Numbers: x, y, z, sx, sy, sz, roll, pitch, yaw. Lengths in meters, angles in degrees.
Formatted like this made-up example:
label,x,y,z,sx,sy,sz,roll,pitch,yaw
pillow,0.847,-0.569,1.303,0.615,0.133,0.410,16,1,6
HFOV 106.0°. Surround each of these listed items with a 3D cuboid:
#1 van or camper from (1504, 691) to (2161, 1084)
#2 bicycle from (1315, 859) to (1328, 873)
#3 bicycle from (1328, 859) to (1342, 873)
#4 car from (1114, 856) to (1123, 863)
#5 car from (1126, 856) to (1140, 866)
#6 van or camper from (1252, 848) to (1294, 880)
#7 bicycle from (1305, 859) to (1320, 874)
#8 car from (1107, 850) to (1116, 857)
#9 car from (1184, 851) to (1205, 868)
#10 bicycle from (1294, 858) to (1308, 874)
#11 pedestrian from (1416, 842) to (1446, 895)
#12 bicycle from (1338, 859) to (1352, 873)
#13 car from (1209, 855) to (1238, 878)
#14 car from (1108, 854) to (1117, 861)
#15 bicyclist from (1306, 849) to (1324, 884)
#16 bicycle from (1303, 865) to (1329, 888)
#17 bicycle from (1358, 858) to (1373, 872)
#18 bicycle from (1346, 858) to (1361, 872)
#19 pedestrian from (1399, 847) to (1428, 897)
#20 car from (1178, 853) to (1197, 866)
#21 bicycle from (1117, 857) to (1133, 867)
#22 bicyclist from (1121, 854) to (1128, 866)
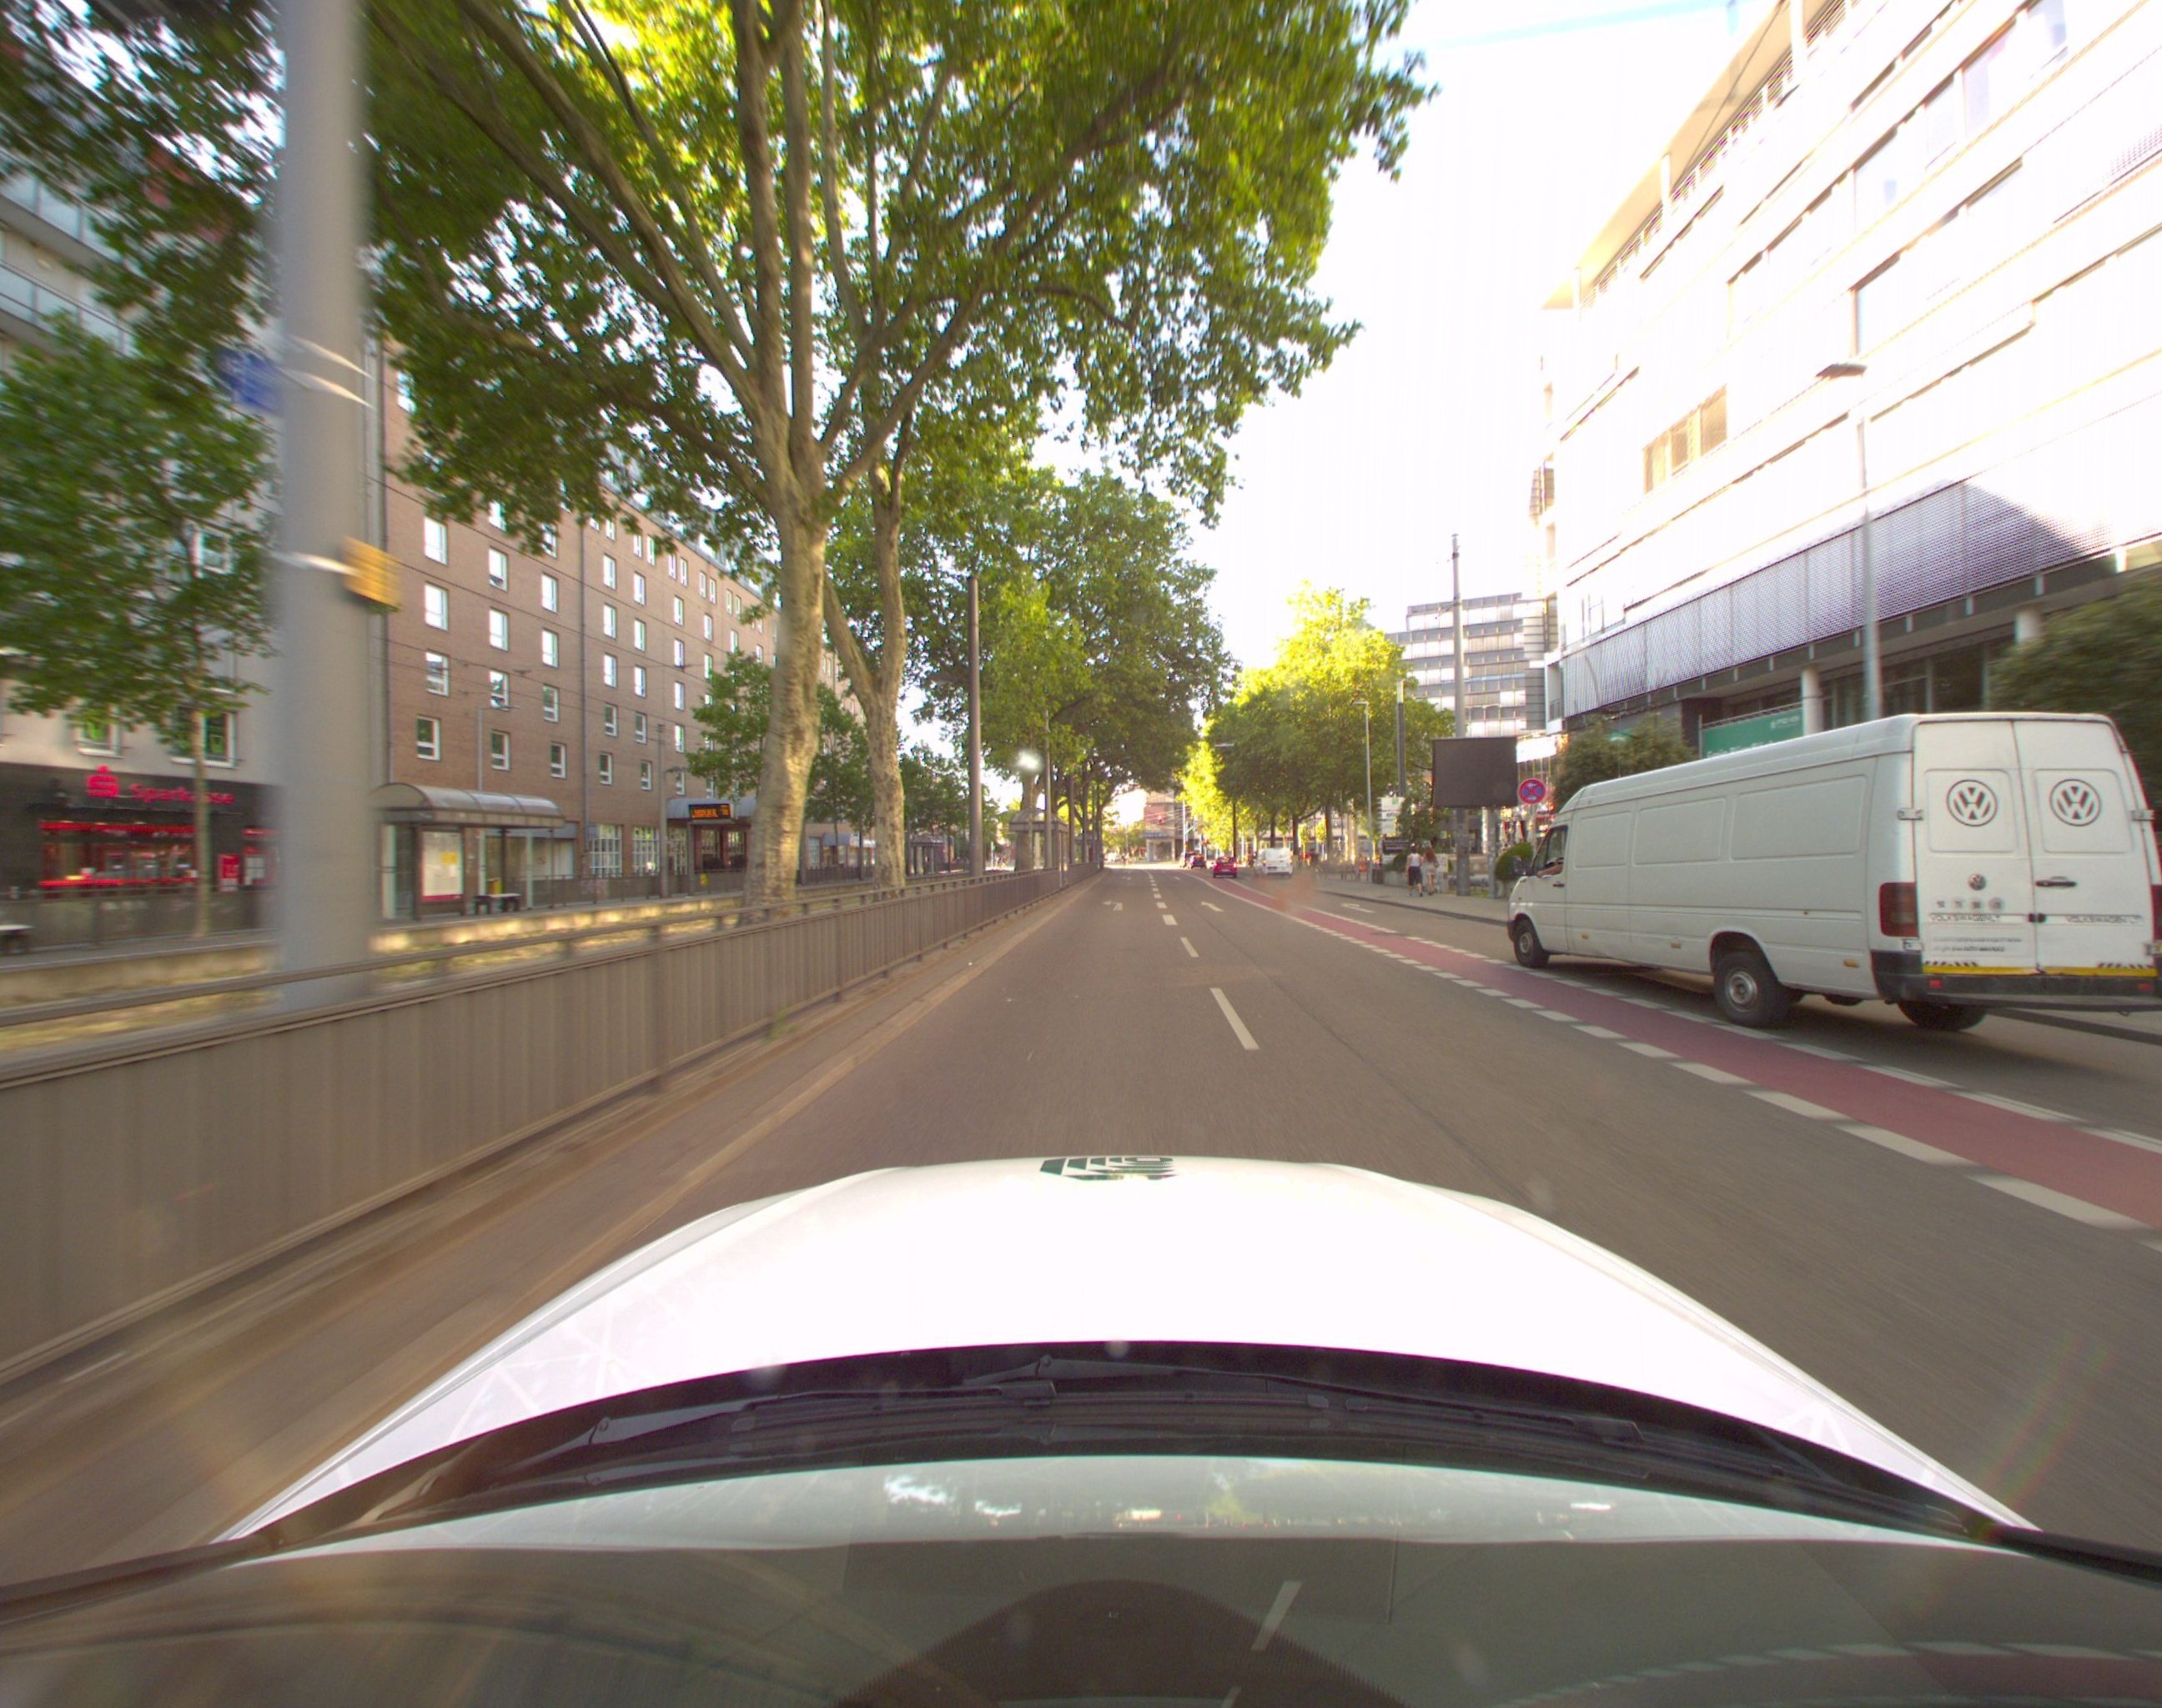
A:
label,x,y,z,sx,sy,sz,roll,pitch,yaw
van or camper,7.035,0.227,8.806,1.960,2.716,6.310,0,0,3
bicycle,17.282,0.885,58.534,0.466,0.982,1.769,-2,0,3
bicycle,18.251,0.844,58.503,0.501,0.982,1.769,-2,0,3
car,8.129,1.166,178.795,1.773,1.535,3.410,0,0,-1
car,7.651,1.025,120.175,1.773,1.535,3.510,0,0,-1
van or camper,12.495,0.652,53.287,1.984,1.989,4.750,-1,0,4
bicycle,16.644,0.901,58.546,0.583,1.067,1.901,-2,0,3
car,7.129,-0.120,191.477,1.773,1.588,3.410,0,0,-1
car,12.619,0.610,90.683,1.631,1.800,3.326,-1,0,-3
bicycle,15.826,0.862,58.595,0.583,1.161,1.901,-2,0,3
pedestrian,12.281,0.499,28.619,0.538,1.796,0.907,-4,-1,1
bicycle,18.975,0.833,58.489,0.501,0.982,1.769,-2,0,3
car,9.832,0.857,56.347,1.606,1.535,3.415,0,0,3
car,7.211,0.763,185.445,1.773,1.535,3.410,0,0,-1
bicyclist,11.645,0.616,40.500,0.647,1.702,0.952,-1,-1,2
bicycle,11.637,1.081,40.377,0.680,1.067,2.471,-2,0,3
bicycle,20.373,0.773,58.358,0.501,0.982,1.769,-2,0,3
bicycle,19.592,0.807,58.608,0.501,0.982,1.769,-2,0,3
pedestrian,11.622,0.620,28.481,0.562,1.702,0.907,-4,-1,1
car,12.637,0.644,97.061,1.773,1.535,3.510,0,0,-1
bicycle,5.646,1.038,104.308,2.009,1.214,0.838,0,0,-6
bicyclist,5.541,0.759,104.266,0.835,1.591,0.838,0,0,-6
